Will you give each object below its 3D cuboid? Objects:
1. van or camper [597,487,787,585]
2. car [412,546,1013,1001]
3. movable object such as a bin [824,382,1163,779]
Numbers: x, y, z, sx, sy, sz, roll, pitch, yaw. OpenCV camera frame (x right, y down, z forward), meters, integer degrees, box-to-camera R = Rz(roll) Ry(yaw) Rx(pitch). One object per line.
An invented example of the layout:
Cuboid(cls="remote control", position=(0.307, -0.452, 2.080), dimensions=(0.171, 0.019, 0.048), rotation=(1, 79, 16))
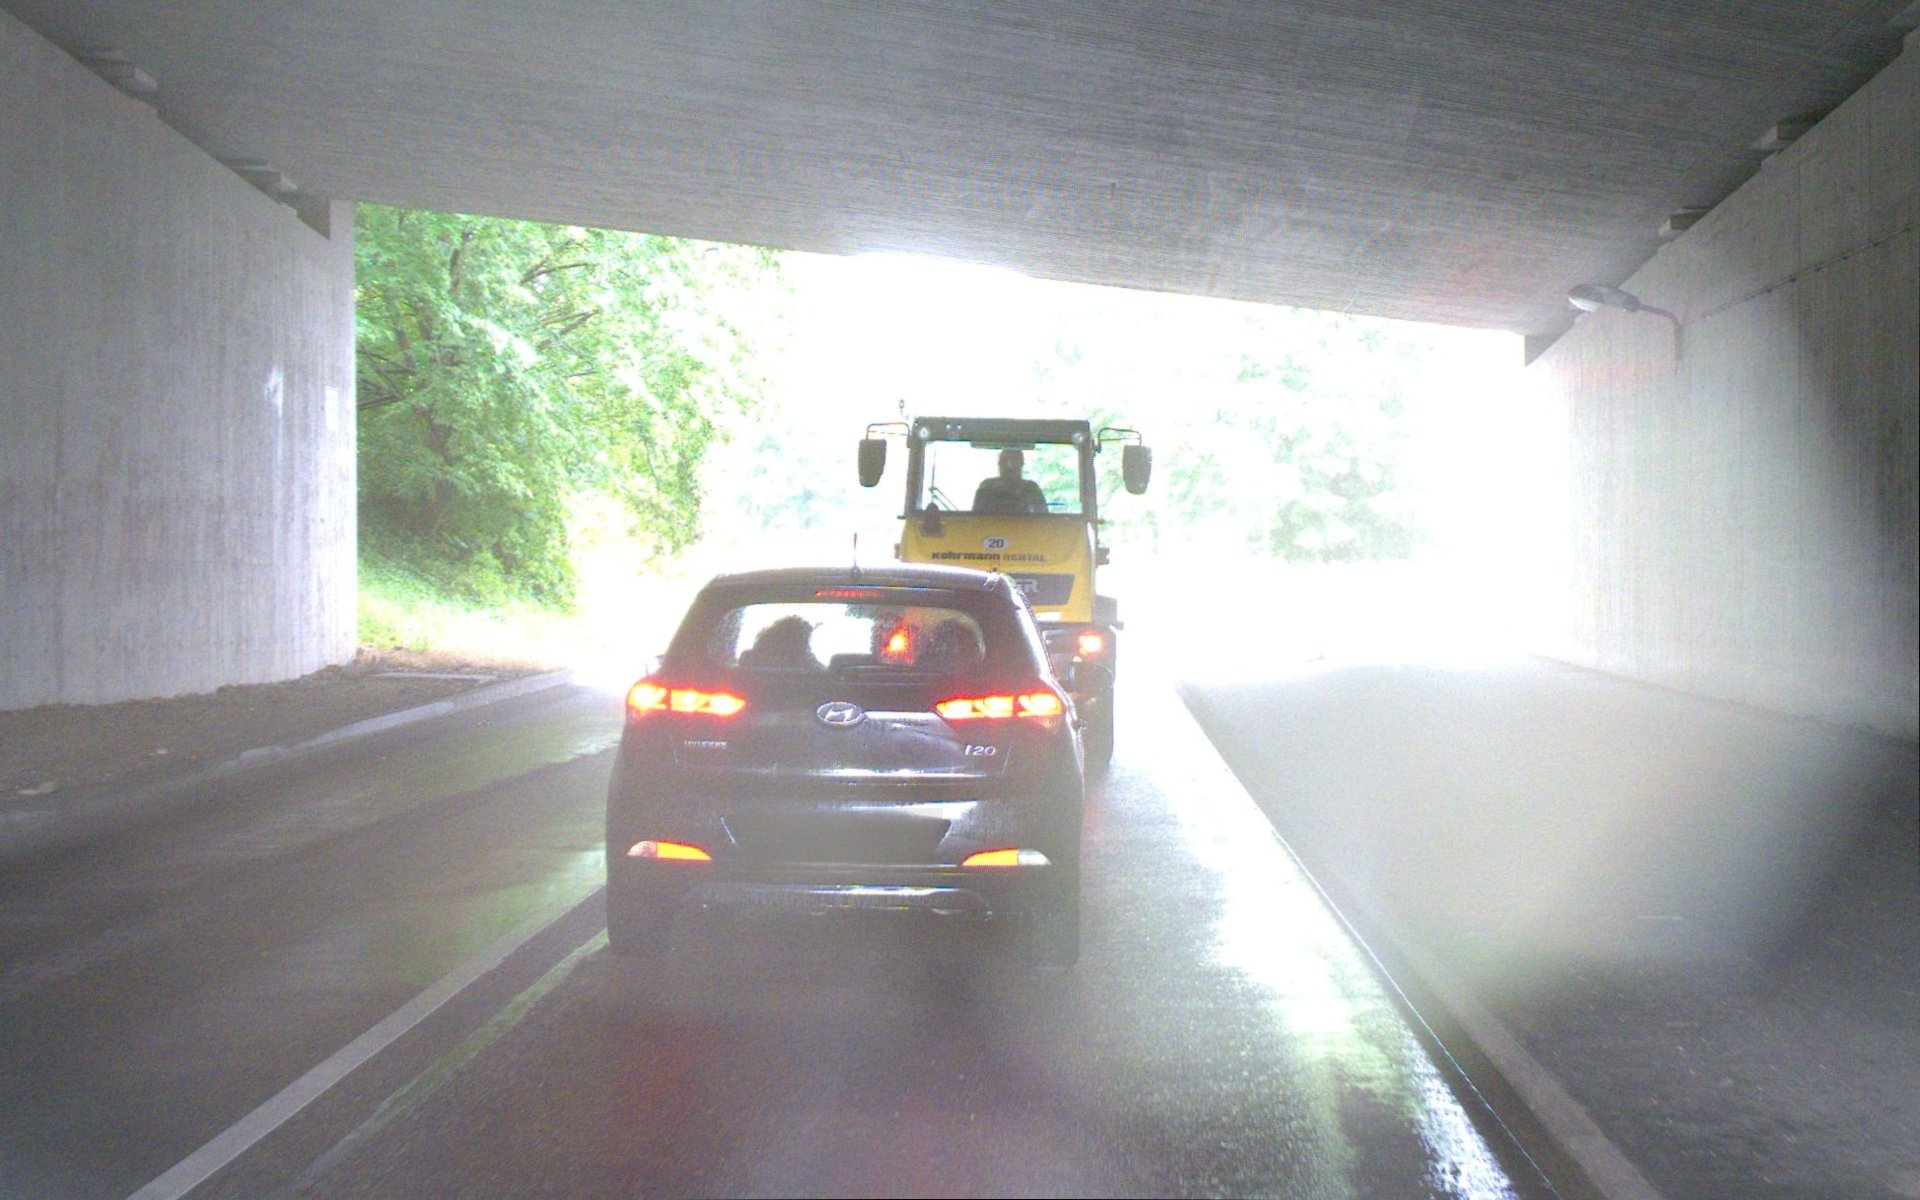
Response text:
Cuboid(cls="van or camper", position=(-6.151, -1.473, 78.344), dimensions=(1.994, 2.091, 4.690), rotation=(1, 1, -38))
Cuboid(cls="car", position=(-0.896, 0.562, 13.702), dimensions=(1.993, 1.482, 4.000), rotation=(2, 1, -2))
Cuboid(cls="movable object such as a bin", position=(0.267, -0.184, 27.019), dimensions=(2.246, 2.660, 6.626), rotation=(2, 1, 1))
